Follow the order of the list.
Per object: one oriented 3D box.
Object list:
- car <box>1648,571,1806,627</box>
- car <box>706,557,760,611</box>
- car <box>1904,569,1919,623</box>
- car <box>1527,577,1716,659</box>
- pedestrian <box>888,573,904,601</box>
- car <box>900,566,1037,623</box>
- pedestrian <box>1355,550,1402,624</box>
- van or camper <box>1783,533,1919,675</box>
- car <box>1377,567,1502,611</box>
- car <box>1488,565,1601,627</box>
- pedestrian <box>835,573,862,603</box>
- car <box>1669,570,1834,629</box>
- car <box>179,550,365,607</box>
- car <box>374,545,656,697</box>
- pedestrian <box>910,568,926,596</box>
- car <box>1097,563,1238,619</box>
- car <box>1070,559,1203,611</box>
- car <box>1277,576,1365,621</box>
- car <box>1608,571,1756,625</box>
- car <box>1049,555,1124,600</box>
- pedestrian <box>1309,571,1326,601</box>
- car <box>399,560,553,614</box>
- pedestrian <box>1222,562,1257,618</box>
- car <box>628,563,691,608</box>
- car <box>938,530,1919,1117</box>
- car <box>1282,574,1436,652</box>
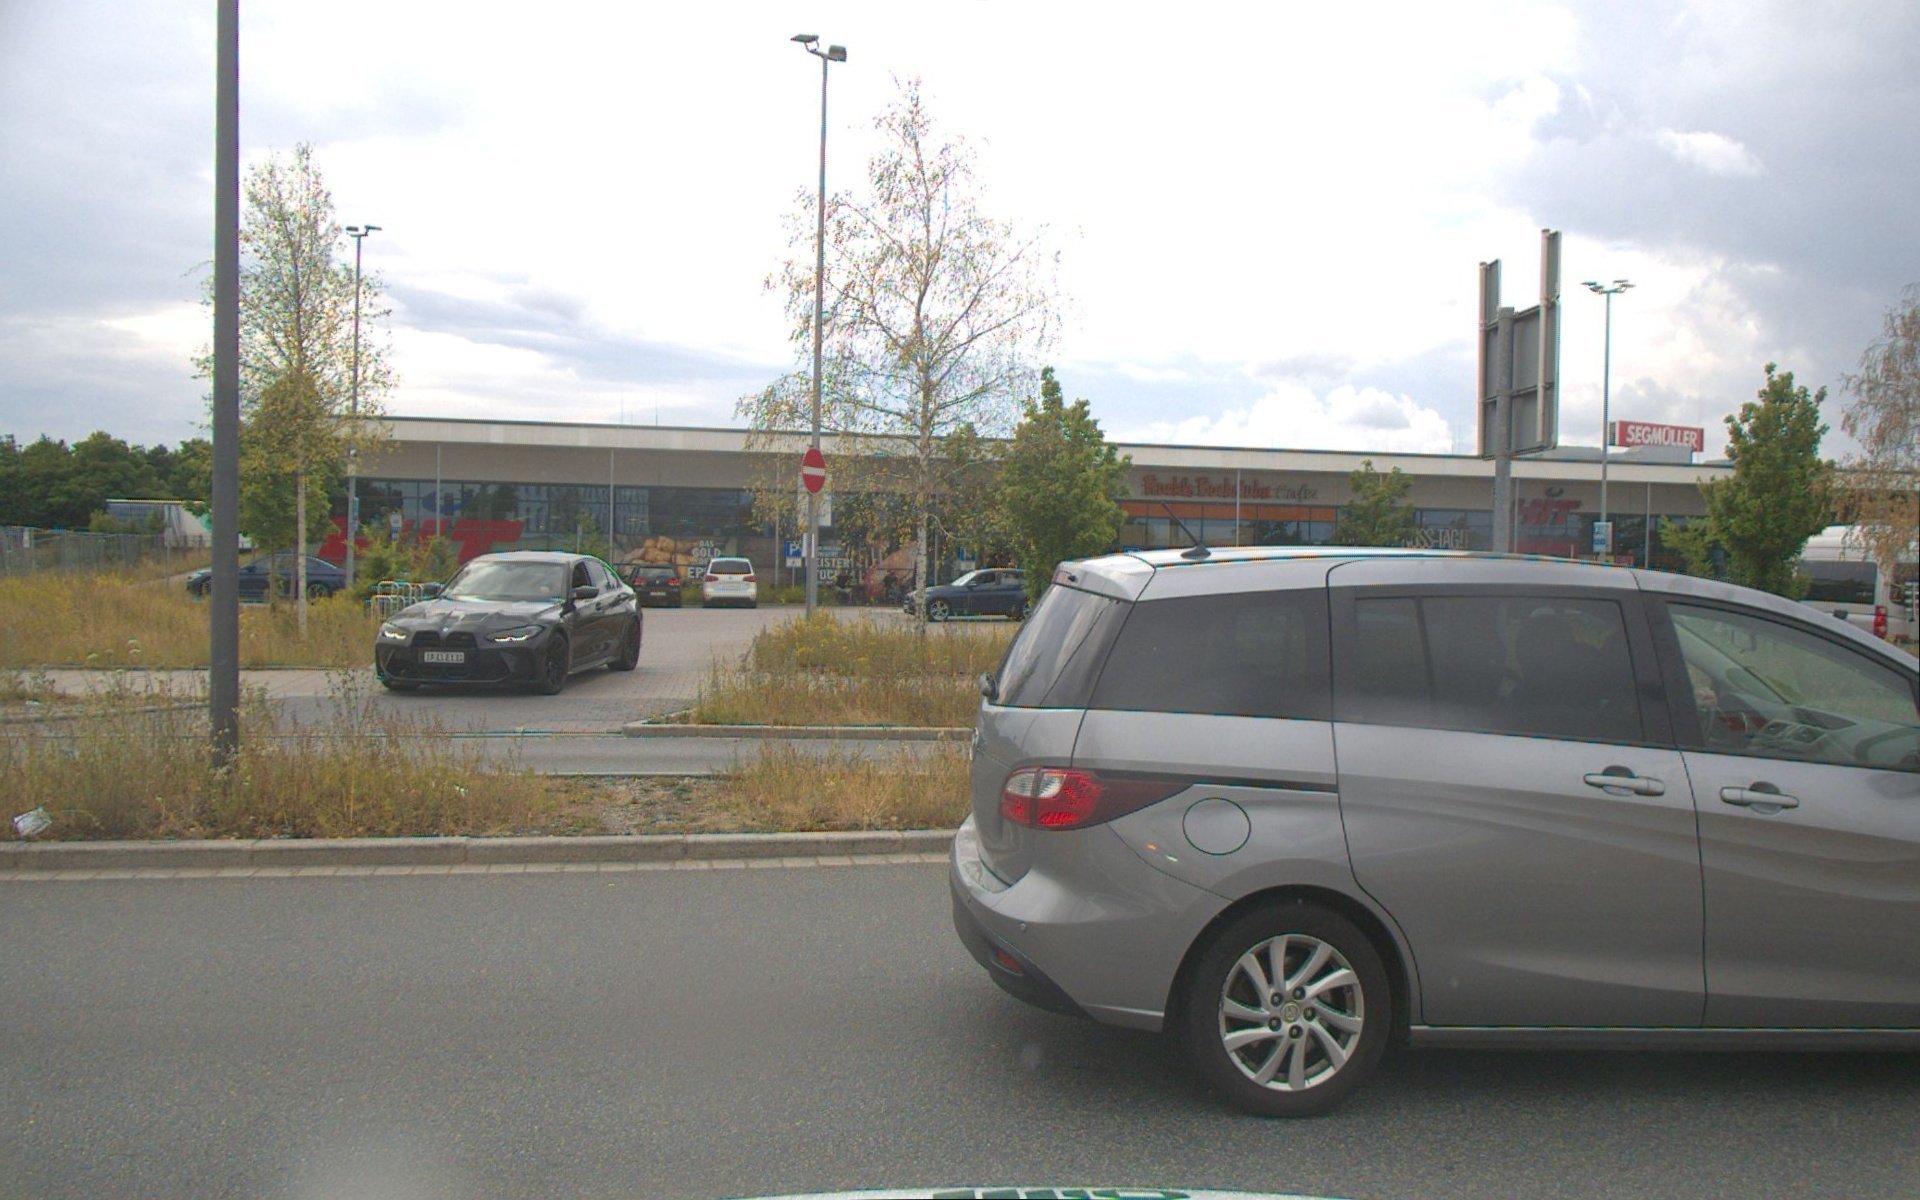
[{"bbox_3d":[23.558,-0.046,50.886,3.906,1.646,2.000,1,1,-1],"label":"car"},{"bbox_3d":[-7.909,-0.600,57.839,1.789,1.729,4.228,1,2,-7],"label":"car"},{"bbox_3d":[34.807,-0.085,56.382,4.336,1.850,1.994,1,1,-12],"label":"car"},{"bbox_3d":[12.976,0.310,32.728,1.948,1.476,4.149,1,1,-2],"label":"car"},{"bbox_3d":[-2.623,-0.526,67.787,0.566,1.143,0.560,1,1,-13],"label":"pedestrian"},{"bbox_3d":[0.224,-0.166,45.926,3.542,1.479,1.664,1,1,-11],"label":"car"},{"bbox_3d":[11.769,-0.376,46.482,0.984,2.048,0.864,2,1,38],"label":"pedestrian"},{"bbox_3d":[17.804,0.077,31.680,2.235,2.535,4.002,1,1,4],"label":"van or camper"},{"bbox_3d":[17.608,-0.417,60.833,3.912,1.534,1.997,1,1,-9],"label":"car"},{"bbox_3d":[16.902,-0.156,48.028,1.777,1.682,4.000,1,1,-1],"label":"car"},{"bbox_3d":[-4.596,-0.494,67.975,0.953,1.174,1.130,1,1,-11],"label":"pedestrian"},{"bbox_3d":[23.264,-0.025,48.704,3.906,1.646,2.000,1,1,-1],"label":"car"},{"bbox_3d":[-20.796,-0.639,50.224,4.923,1.585,1.993,1,1,-14],"label":"car"},{"bbox_3d":[-4.884,0.136,18.859,1.742,1.470,4.613,1,2,3],"label":"car"},{"bbox_3d":[-1.706,-0.730,67.062,0.566,1.143,0.560,1,1,-13],"label":"pedestrian"},{"bbox_3d":[5.903,-0.263,47.283,3.678,1.479,1.664,1,1,-10],"label":"car"},{"bbox_3d":[5.326,-0.459,50.090,3.678,1.479,1.664,1,1,-10],"label":"car"},{"bbox_3d":[13.412,-0.096,61.723,1.956,1.534,3.994,1,1,-7],"label":"car"},{"bbox_3d":[23.371,-0.083,53.627,3.906,1.646,2.000,1,1,-1],"label":"car"},{"bbox_3d":[4.595,-0.844,60.532,1.956,1.534,3.994,1,1,-7],"label":"car"},{"bbox_3d":[15.020,-0.580,69.480,0.550,1.222,0.527,1,1,-10],"label":"pedestrian"},{"bbox_3d":[-13.366,-0.366,45.871,3.917,1.375,1.994,1,1,-12],"label":"car"},{"bbox_3d":[8.502,-0.299,50.340,0.805,1.660,0.898,1,0,-5],"label":"pedestrian"},{"bbox_3d":[-10.378,-0.535,57.330,1.870,1.469,3.994,1,1,-7],"label":"car"},{"bbox_3d":[2.144,0.599,5.599,4.301,1.590,1.820,1,2,-5],"label":"car"},{"bbox_3d":[7.863,0.214,32.986,1.948,1.408,4.149,1,1,-2],"label":"car"}]
